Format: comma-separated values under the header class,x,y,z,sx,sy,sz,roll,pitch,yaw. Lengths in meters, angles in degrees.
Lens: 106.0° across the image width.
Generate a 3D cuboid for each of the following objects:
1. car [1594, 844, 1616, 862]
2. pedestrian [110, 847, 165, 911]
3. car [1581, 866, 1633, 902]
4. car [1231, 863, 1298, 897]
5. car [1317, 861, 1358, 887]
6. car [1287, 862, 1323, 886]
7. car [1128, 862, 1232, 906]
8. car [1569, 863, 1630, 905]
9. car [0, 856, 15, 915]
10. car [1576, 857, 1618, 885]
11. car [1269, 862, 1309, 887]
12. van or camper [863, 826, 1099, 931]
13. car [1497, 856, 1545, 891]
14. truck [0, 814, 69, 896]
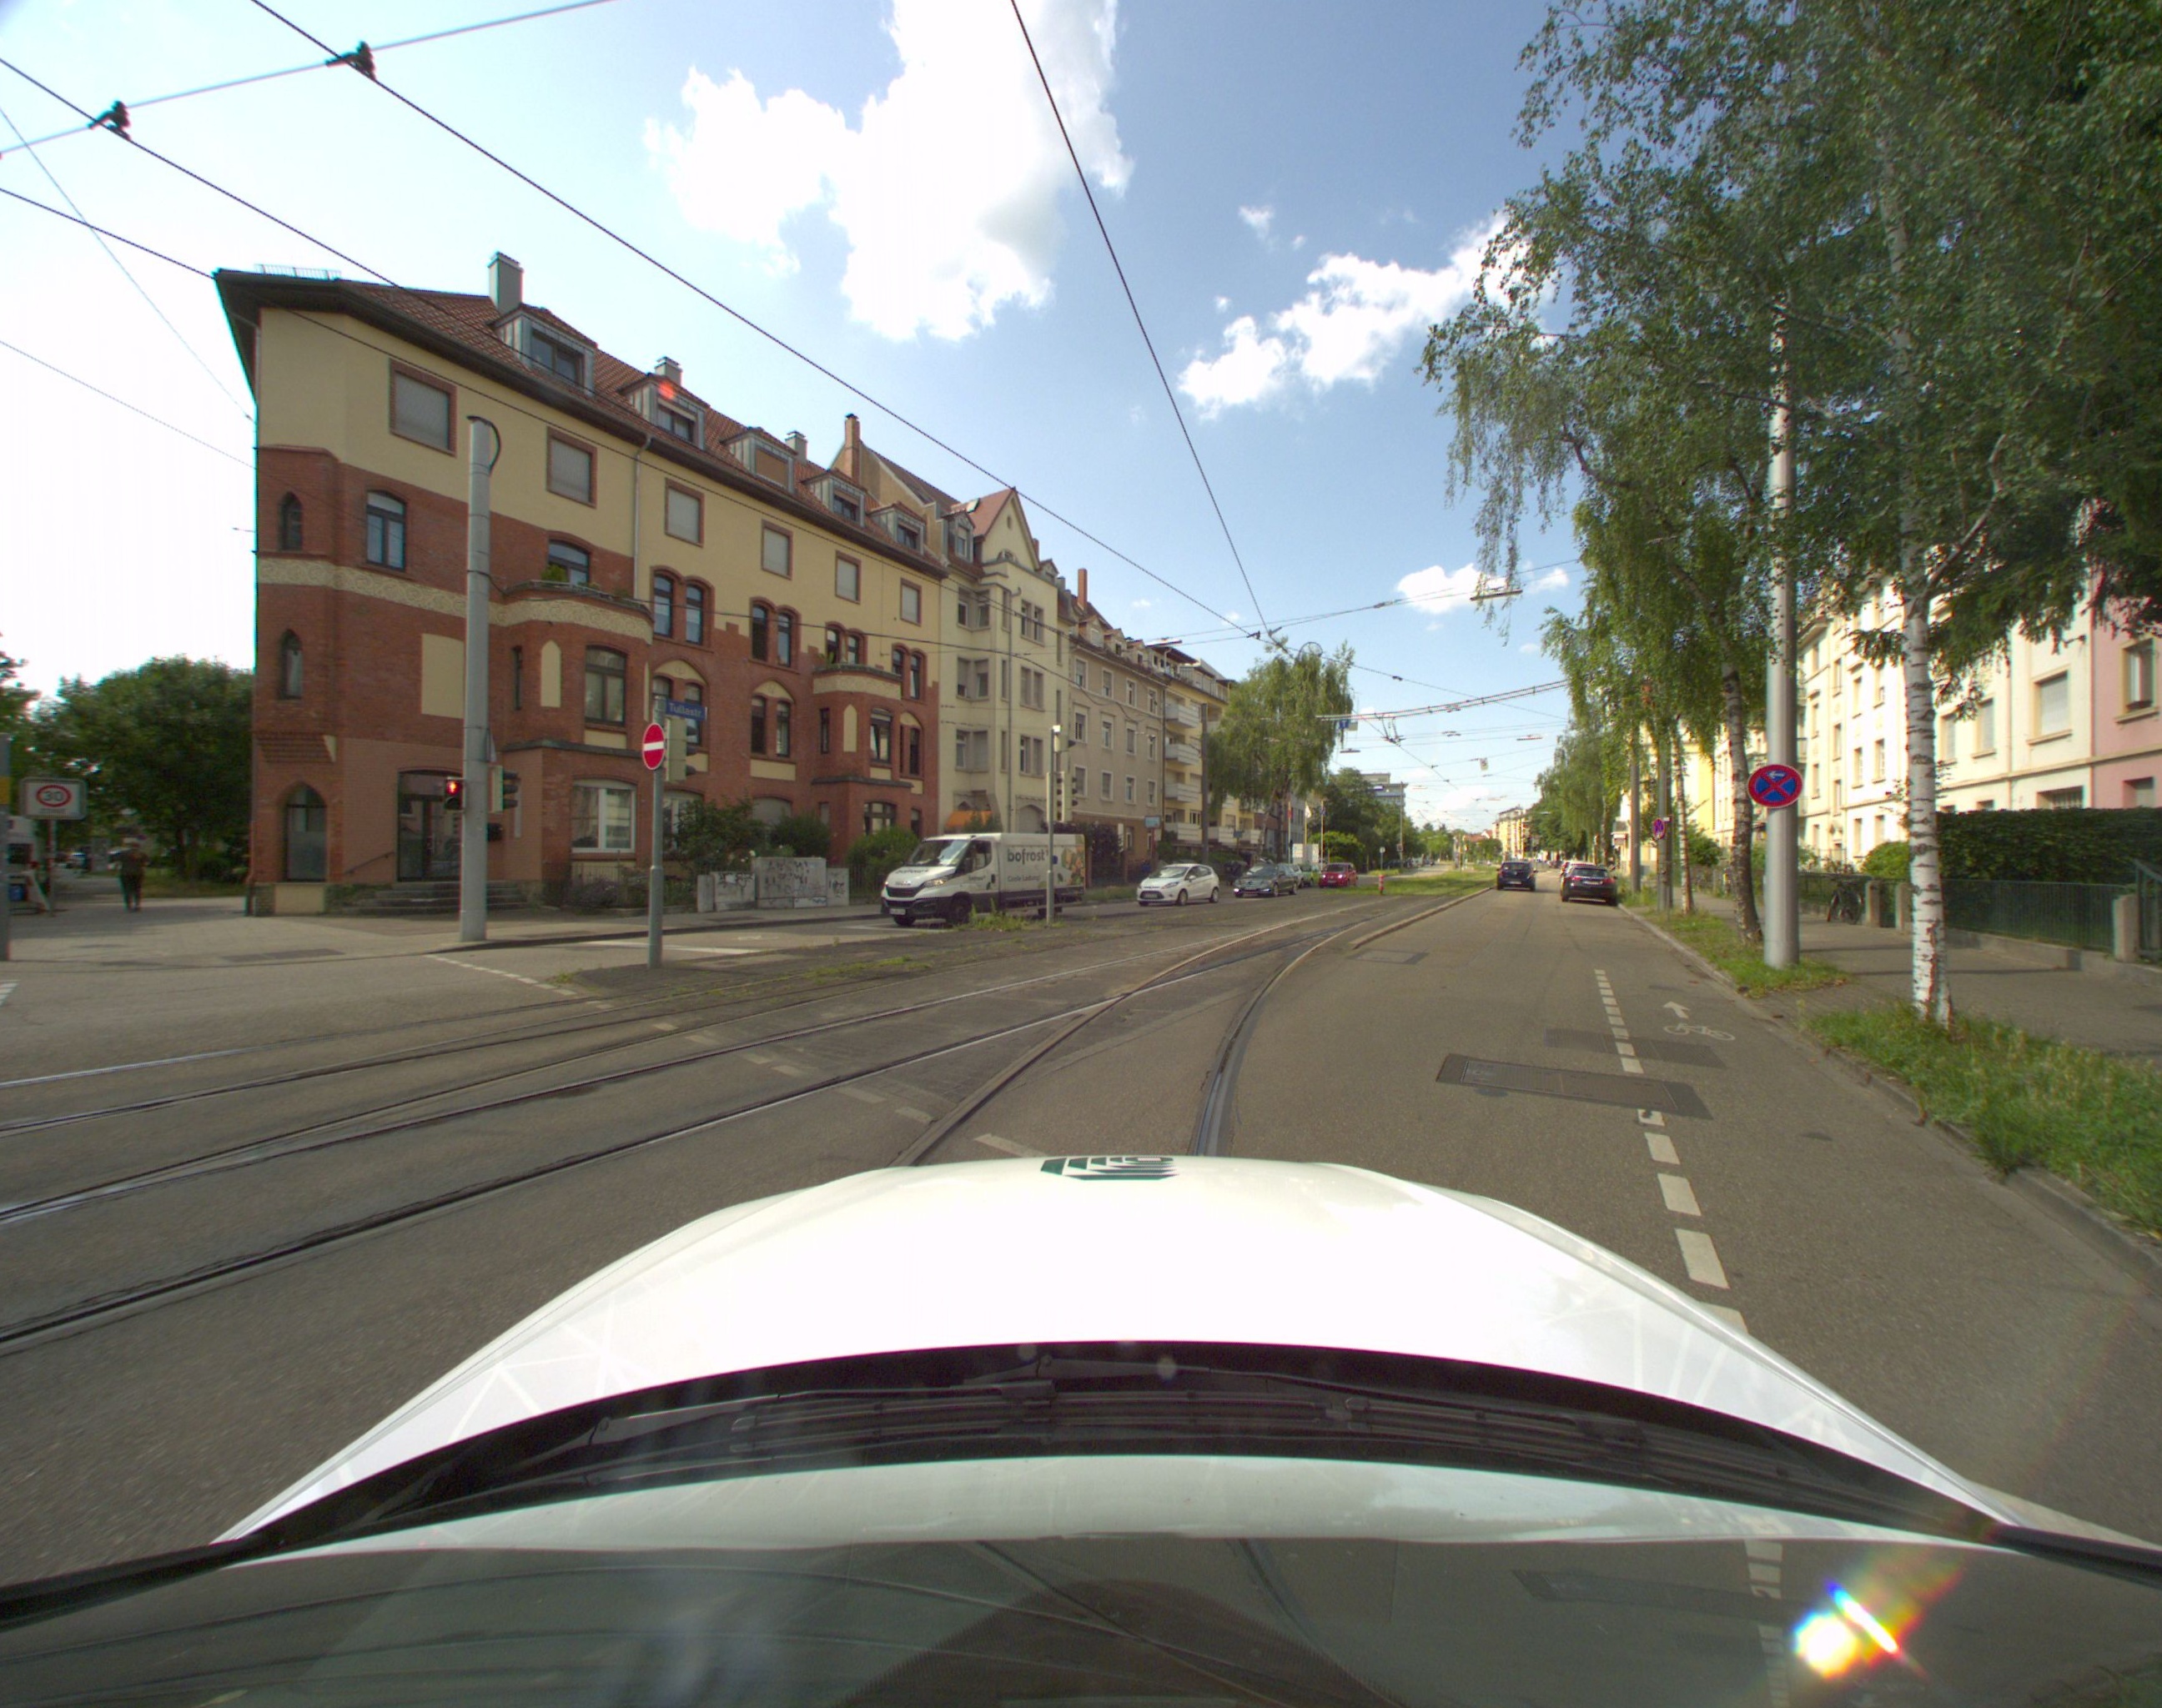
class,x,y,z,sx,sy,sz,roll,pitch,yaw
car,55.820,-0.093,86.758,1.882,1.797,3.837,2,2,32
pedestrian,-24.973,0.653,21.570,0.877,1.656,0.727,1,-1,-44
car,24.282,1.351,37.682,1.882,1.386,3.837,2,2,32
car,8.068,1.085,35.577,2.209,1.371,4.001,0,0,22
car,14.875,1.117,47.142,1.694,1.442,3.374,0,0,28
car,14.030,1.228,50.897,1.548,1.386,3.207,0,0,28
car,3.583,0.996,28.927,1.910,1.439,4.045,0,0,37
car,20.139,1.100,31.715,1.882,1.386,3.837,2,2,32
car,-30.642,0.882,22.001,3.456,1.633,1.768,0,-1,45
car,29.059,0.936,45.892,1.882,1.386,3.837,2,2,32
car,12.136,1.186,47.372,1.548,1.386,3.207,0,0,28
van or camper,-2.274,0.552,20.950,2.219,2.254,6.587,0,0,34
car,22.325,0.952,41.265,1.882,1.574,3.837,2,2,32
truck,-40.113,0.042,30.622,3.950,2.970,2.142,0,0,45
